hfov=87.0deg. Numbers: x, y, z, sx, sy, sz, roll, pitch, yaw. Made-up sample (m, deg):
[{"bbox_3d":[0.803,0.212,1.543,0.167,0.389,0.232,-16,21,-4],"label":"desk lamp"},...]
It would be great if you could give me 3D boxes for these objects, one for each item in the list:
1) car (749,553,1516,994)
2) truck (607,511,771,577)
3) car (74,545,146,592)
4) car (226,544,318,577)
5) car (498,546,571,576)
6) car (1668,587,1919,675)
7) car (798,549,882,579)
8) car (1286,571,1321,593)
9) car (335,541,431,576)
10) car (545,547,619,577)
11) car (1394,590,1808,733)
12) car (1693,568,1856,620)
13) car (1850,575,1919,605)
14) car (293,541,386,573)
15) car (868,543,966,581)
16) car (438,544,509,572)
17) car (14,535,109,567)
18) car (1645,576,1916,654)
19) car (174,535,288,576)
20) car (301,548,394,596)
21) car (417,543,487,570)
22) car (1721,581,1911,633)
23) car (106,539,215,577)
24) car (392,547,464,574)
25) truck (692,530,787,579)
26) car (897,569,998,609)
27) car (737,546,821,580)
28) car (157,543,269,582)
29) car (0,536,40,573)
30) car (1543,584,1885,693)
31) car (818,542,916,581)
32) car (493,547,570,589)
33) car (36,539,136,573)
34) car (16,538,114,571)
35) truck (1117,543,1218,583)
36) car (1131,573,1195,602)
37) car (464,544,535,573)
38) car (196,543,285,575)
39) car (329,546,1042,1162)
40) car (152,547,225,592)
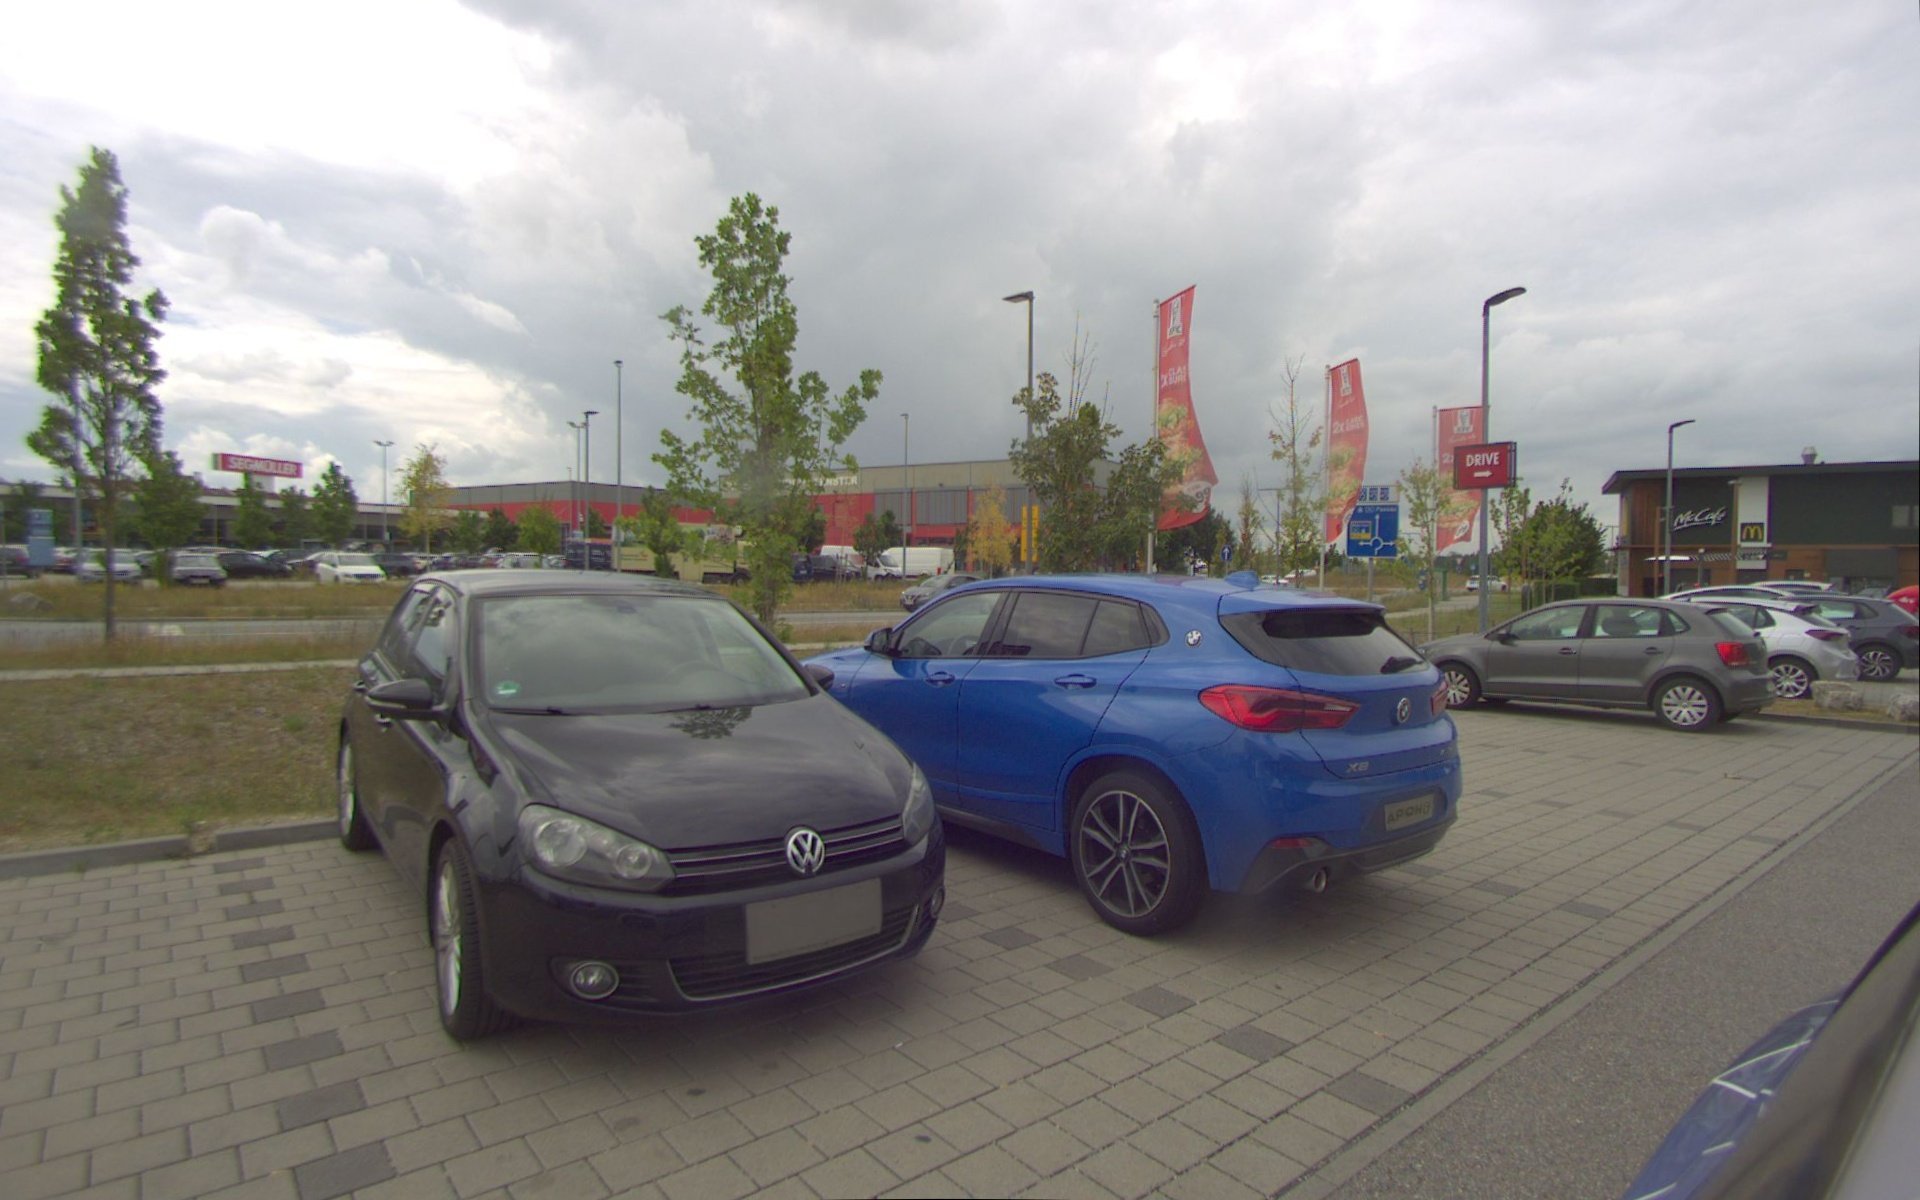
[{"bbox_3d":[0.577,0.553,5.810,1.831,1.563,4.213,0,2,-38],"label":"car"},{"bbox_3d":[-14.569,-2.961,54.324,8.254,3.235,3.037,1,3,-20],"label":"truck"},{"bbox_3d":[-31.565,-1.202,37.541,1.743,1.558,4.046,-1,4,-44],"label":"car"},{"bbox_3d":[-41.187,-2.357,60.650,1.988,1.860,4.134,3,3,35],"label":"car"},{"bbox_3d":[-27.152,-2.483,64.647,1.983,1.793,3.961,3,3,29],"label":"car"},{"bbox_3d":[15.219,0.503,18.257,3.795,1.430,1.711,0,1,44],"label":"car"},{"bbox_3d":[-7.453,-2.213,62.616,5.034,1.659,2.054,4,2,33],"label":"car"},{"bbox_3d":[29.239,-1.581,86.124,1.984,1.726,3.957,3,4,31],"label":"car"},{"bbox_3d":[-32.196,-2.317,56.558,1.986,1.793,4.272,3,3,32],"label":"car"},{"bbox_3d":[-23.828,-2.417,63.989,1.983,1.793,4.100,3,3,29],"label":"car"},{"bbox_3d":[7.664,0.611,12.407,1.698,1.446,3.993,-1,1,-41],"label":"car"},{"bbox_3d":[28.907,-0.212,36.131,4.343,1.734,1.968,0,0,35],"label":"car"},{"bbox_3d":[53.764,-0.558,58.515,3.822,1.603,1.755,1,3,-20],"label":"car"},{"bbox_3d":[-36.556,-2.535,59.670,1.987,1.793,4.269,3,3,34],"label":"car"},{"bbox_3d":[-2.957,-2.609,68.823,6.454,2.295,2.321,3,3,31],"label":"car"},{"bbox_3d":[-33.352,-2.866,69.441,1.987,1.793,3.953,3,3,34],"label":"car"},{"bbox_3d":[-55.949,-3.014,63.061,1.988,1.860,4.134,3,3,35],"label":"car"},{"bbox_3d":[18.123,0.288,22.558,4.527,1.560,1.897,0,0,42],"label":"car"},{"bbox_3d":[-35.641,-2.168,49.584,1.988,1.860,4.134,3,3,35],"label":"car"},{"bbox_3d":[-25.783,-1.210,42.537,4.299,1.793,1.973,4,3,38],"label":"car"},{"bbox_3d":[-35.676,-3.021,71.156,1.987,1.793,3.952,3,3,34],"label":"car"},{"bbox_3d":[24.928,0.192,29.691,4.043,1.430,1.865,0,0,35],"label":"car"},{"bbox_3d":[-42.283,-2.212,53.587,1.988,1.860,4.134,3,3,35],"label":"car"},{"bbox_3d":[-38.174,-2.825,72.639,1.987,1.860,4.135,3,3,34],"label":"car"},{"bbox_3d":[-18.393,-3.817,84.299,8.193,3.789,2.627,3,3,32],"label":"truck"},{"bbox_3d":[-0.453,-0.420,40.459,1.748,1.510,4.067,2,1,41],"label":"car"},{"bbox_3d":[-10.610,-2.154,59.167,5.044,1.908,2.049,2,2,39],"label":"car"},{"bbox_3d":[-37.681,-1.871,51.129,1.988,1.860,4.134,3,3,35],"label":"car"},{"bbox_3d":[-44.008,-2.121,46.698,1.963,1.558,4.160,0,3,-37],"label":"car"},{"bbox_3d":[11.348,0.500,15.409,1.809,1.430,3.930,-1,1,-43],"label":"car"},{"bbox_3d":[-6.019,-2.503,65.145,6.016,2.241,2.388,4,2,33],"label":"car"},{"bbox_3d":[-20.202,-1.540,47.650,1.900,1.793,4.311,-1,4,-44],"label":"car"},{"bbox_3d":[-51.423,-2.562,59.615,1.988,1.860,4.134,3,3,35],"label":"car"},{"bbox_3d":[-54.203,-2.735,61.377,1.988,1.860,4.134,3,3,35],"label":"car"},{"bbox_3d":[26.037,-4.679,127.453,11.934,4.553,3.717,4,3,37],"label":"truck"},{"bbox_3d":[11.111,-0.672,55.258,1.746,1.510,4.073,2,1,38],"label":"car"},{"bbox_3d":[-30.976,-2.794,68.105,1.984,1.793,3.957,3,3,31],"label":"car"},{"bbox_3d":[-44.682,-2.529,62.920,1.988,1.860,4.134,3,3,35],"label":"car"},{"bbox_3d":[-1.640,0.530,4.583,1.743,1.477,4.074,1,2,-36],"label":"car"},{"bbox_3d":[-29.580,-1.205,38.756,1.743,1.558,4.046,-1,4,-44],"label":"car"}]
